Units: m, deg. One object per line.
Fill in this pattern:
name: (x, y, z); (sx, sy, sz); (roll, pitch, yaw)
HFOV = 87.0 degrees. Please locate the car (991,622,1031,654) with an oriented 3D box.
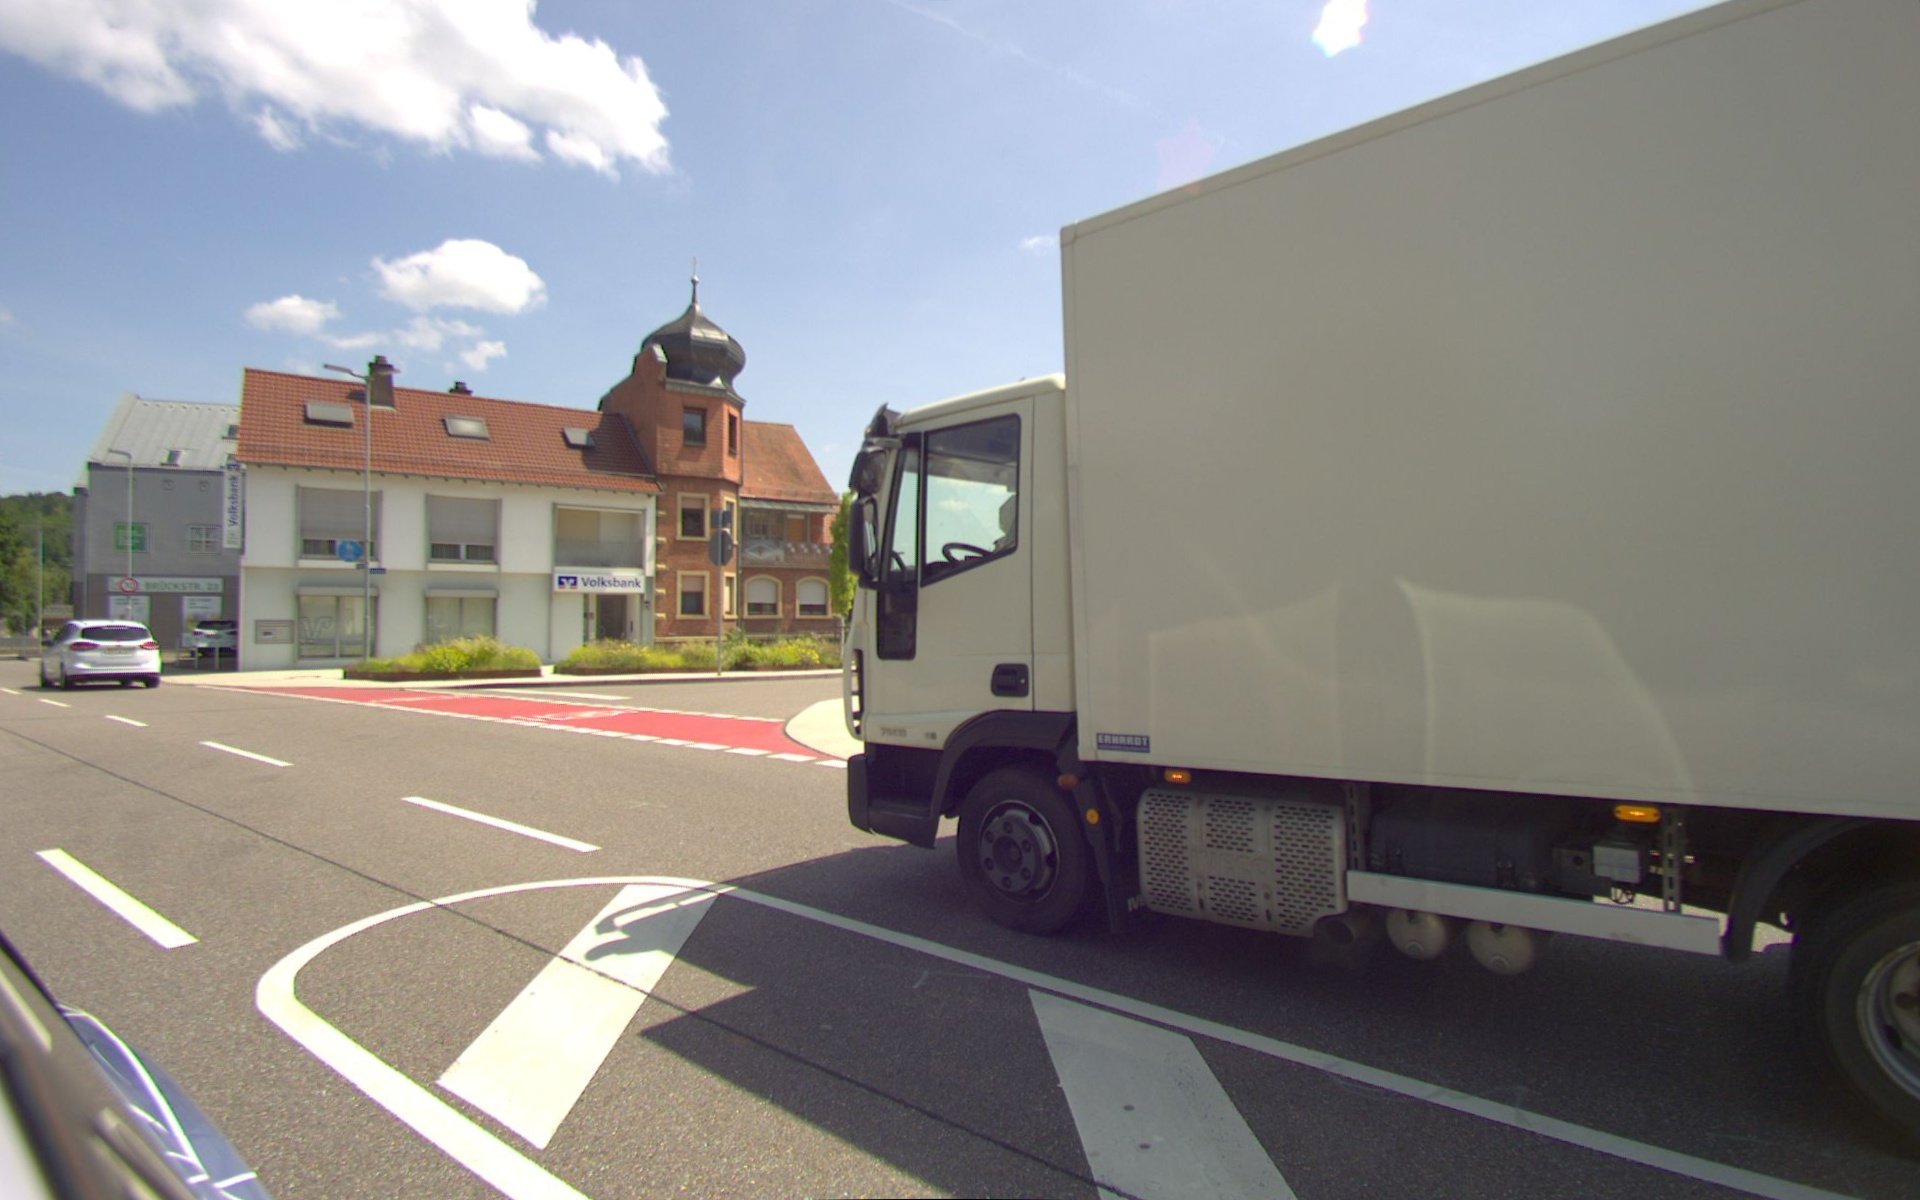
car: (3.162, 2.384, 63.279); (1.894, 1.892, 4.005); (1, -2, -5)

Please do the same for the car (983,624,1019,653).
car: (2.730, 2.606, 68.241); (1.839, 1.864, 4.005); (1, -2, -6)

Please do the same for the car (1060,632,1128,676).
car: (4.698, 1.891, 35.948); (1.835, 1.475, 4.000); (0, -2, -1)

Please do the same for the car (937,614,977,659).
car: (-0.143, 2.067, 57.419); (2.143, 2.363, 5.110); (1, -2, 1)

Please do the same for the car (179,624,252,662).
car: (-32.717, 1.888, 44.589); (1.965, 1.587, 4.266); (2, -3, -28)

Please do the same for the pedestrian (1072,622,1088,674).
pedestrian: (4.133, 1.635, 34.836); (0.500, 1.762, 0.614); (0, -2, 4)

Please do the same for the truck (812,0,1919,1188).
truck: (2.361, -0.216, 3.956); (6.036, 3.260, 2.476); (-1, -2, 40)

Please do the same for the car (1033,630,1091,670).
car: (4.208, 2.032, 42.232); (1.761, 1.559, 4.236); (1, -2, -3)

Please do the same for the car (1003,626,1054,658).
car: (3.911, 2.373, 58.291); (2.036, 1.741, 4.007); (1, -2, -9)

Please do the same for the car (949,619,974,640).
car: (0.104, 2.668, 91.631); (1.839, 1.864, 4.005); (1, -2, -6)

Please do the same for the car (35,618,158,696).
car: (-20.662, 1.284, 24.173); (4.000, 1.662, 1.795); (-1, 0, 43)

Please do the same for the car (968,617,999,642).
car: (1.784, 2.290, 78.659); (1.839, 1.864, 4.005); (1, -2, -6)

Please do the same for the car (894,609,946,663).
car: (-1.825, 1.671, 47.747); (2.143, 2.363, 5.110); (1, -2, 1)

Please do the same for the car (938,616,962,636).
car: (-1.042, 2.680, 105.081); (1.968, 2.029, 4.007); (1, -2, -8)
